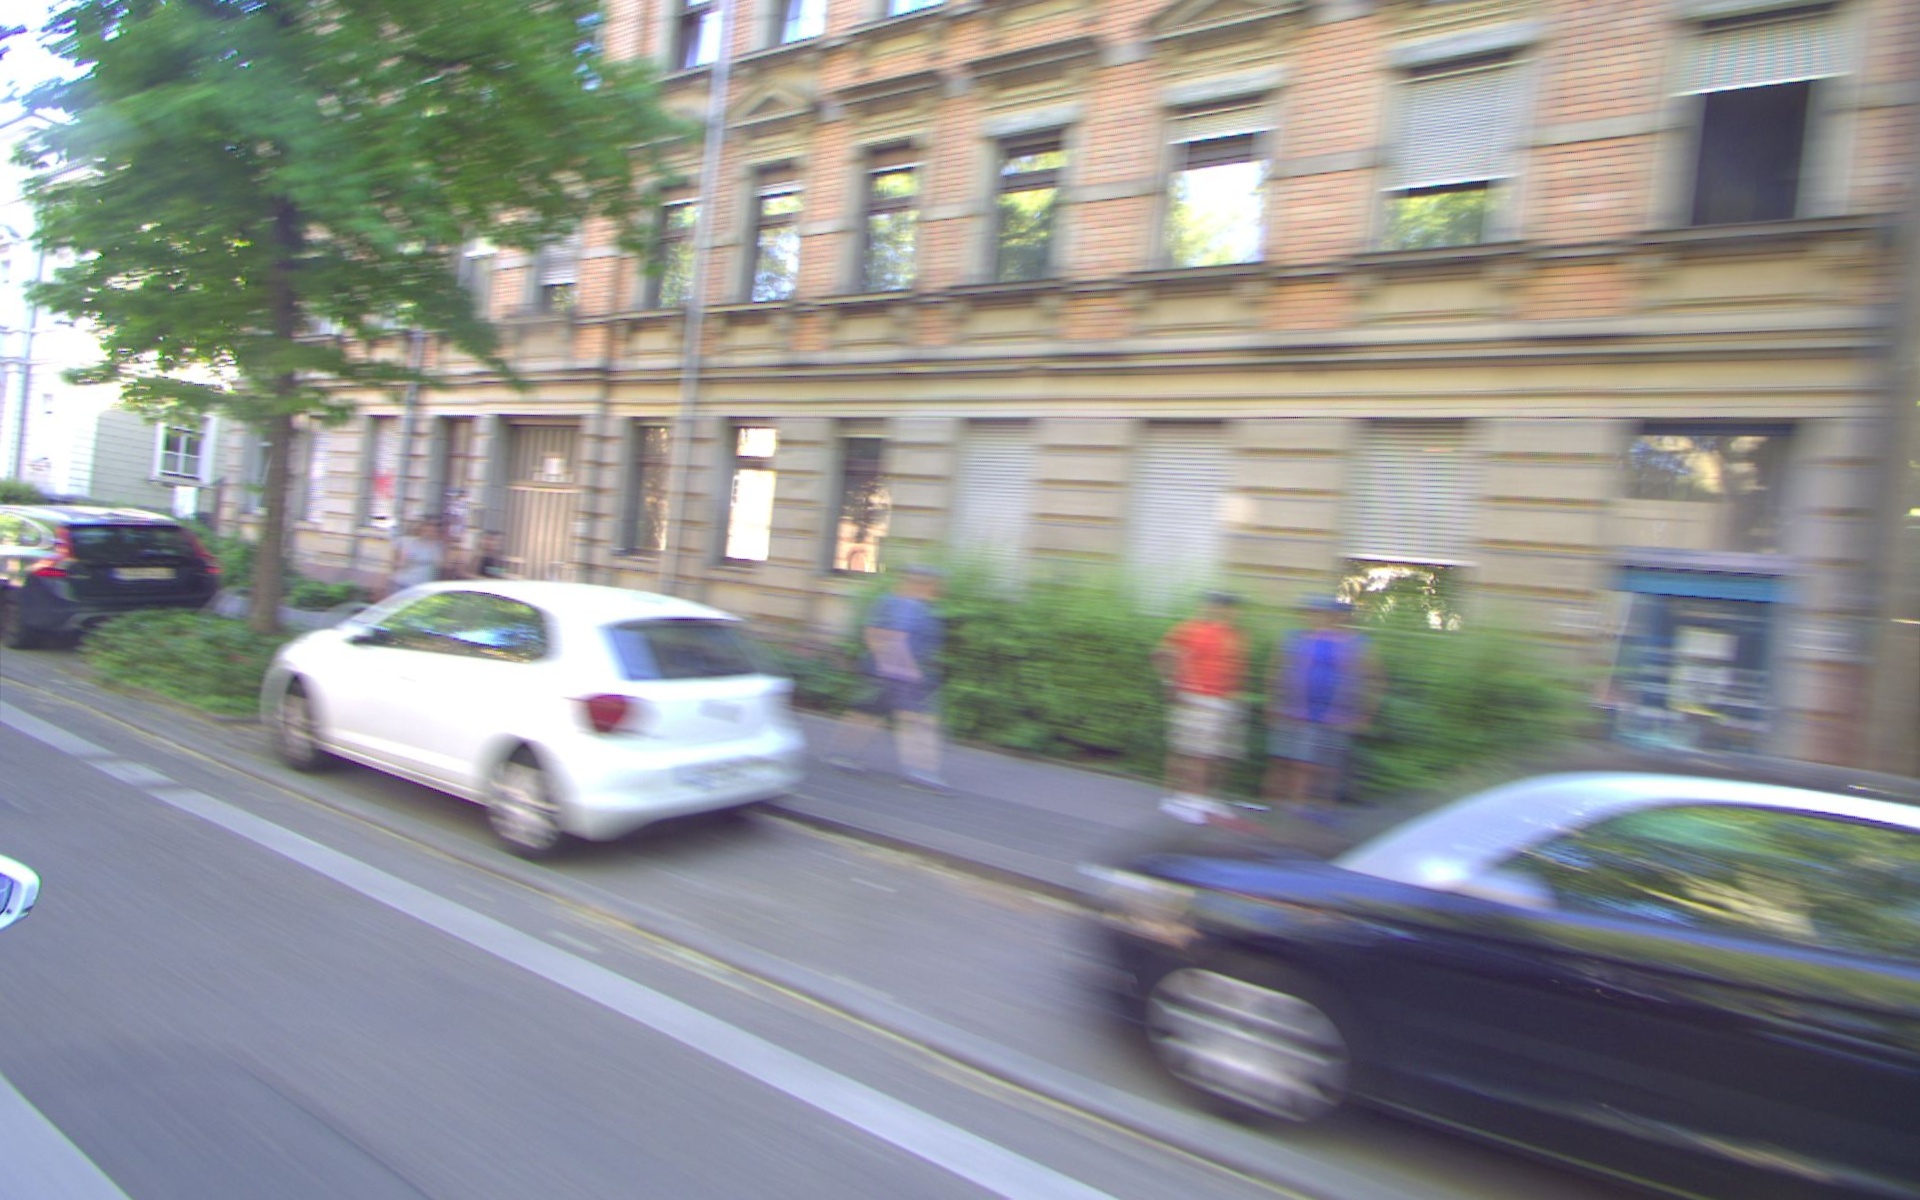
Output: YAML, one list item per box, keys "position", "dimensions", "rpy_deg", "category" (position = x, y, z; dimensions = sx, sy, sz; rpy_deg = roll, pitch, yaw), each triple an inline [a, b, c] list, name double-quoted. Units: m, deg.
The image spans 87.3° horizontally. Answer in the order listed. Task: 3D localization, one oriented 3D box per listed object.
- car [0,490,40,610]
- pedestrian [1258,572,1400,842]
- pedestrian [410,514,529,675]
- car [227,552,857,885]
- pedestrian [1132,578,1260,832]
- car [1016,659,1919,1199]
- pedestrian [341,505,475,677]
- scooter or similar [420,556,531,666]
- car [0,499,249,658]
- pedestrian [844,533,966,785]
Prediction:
- position: [-14.776, -0.870, 13.941]
  dimensions: [4.171, 1.589, 1.884]
  rpy_deg: [6, 2, 31]
  category: "car"
- position: [2.712, 0.756, 7.380]
  dimensions: [0.716, 1.815, 0.600]
  rpy_deg: [7, 0, 29]
  category: "pedestrian"
- position: [-5.656, -0.059, 11.620]
  dimensions: [0.842, 1.730, 0.727]
  rpy_deg: [7, 0, 30]
  category: "pedestrian"
- position: [-2.923, 0.567, 6.825]
  dimensions: [4.039, 1.386, 1.884]
  rpy_deg: [6, 2, 31]
  category: "car"
- position: [1.841, 0.793, 7.803]
  dimensions: [0.590, 1.814, 0.727]
  rpy_deg: [7, 0, 29]
  category: "pedestrian"
- position: [2.309, 1.167, 3.551]
  dimensions: [3.778, 1.431, 1.673]
  rpy_deg: [6, 2, 30]
  category: "car"
- position: [-5.947, -0.089, 10.850]
  dimensions: [0.941, 1.713, 0.727]
  rpy_deg: [6, 0, 31]
  category: "pedestrian"
- position: [-6.285, 0.133, 13.032]
  dimensions: [1.313, 1.261, 0.576]
  rpy_deg: [6, 0, 33]
  category: "scooter or similar"
- position: [-10.575, -0.353, 11.813]
  dimensions: [4.516, 1.486, 1.885]
  rpy_deg: [6, 2, 30]
  category: "car"
- position: [-0.424, 0.453, 7.855]
  dimensions: [0.715, 1.815, 0.600]
  rpy_deg: [7, 0, -2]
  category: "pedestrian"
